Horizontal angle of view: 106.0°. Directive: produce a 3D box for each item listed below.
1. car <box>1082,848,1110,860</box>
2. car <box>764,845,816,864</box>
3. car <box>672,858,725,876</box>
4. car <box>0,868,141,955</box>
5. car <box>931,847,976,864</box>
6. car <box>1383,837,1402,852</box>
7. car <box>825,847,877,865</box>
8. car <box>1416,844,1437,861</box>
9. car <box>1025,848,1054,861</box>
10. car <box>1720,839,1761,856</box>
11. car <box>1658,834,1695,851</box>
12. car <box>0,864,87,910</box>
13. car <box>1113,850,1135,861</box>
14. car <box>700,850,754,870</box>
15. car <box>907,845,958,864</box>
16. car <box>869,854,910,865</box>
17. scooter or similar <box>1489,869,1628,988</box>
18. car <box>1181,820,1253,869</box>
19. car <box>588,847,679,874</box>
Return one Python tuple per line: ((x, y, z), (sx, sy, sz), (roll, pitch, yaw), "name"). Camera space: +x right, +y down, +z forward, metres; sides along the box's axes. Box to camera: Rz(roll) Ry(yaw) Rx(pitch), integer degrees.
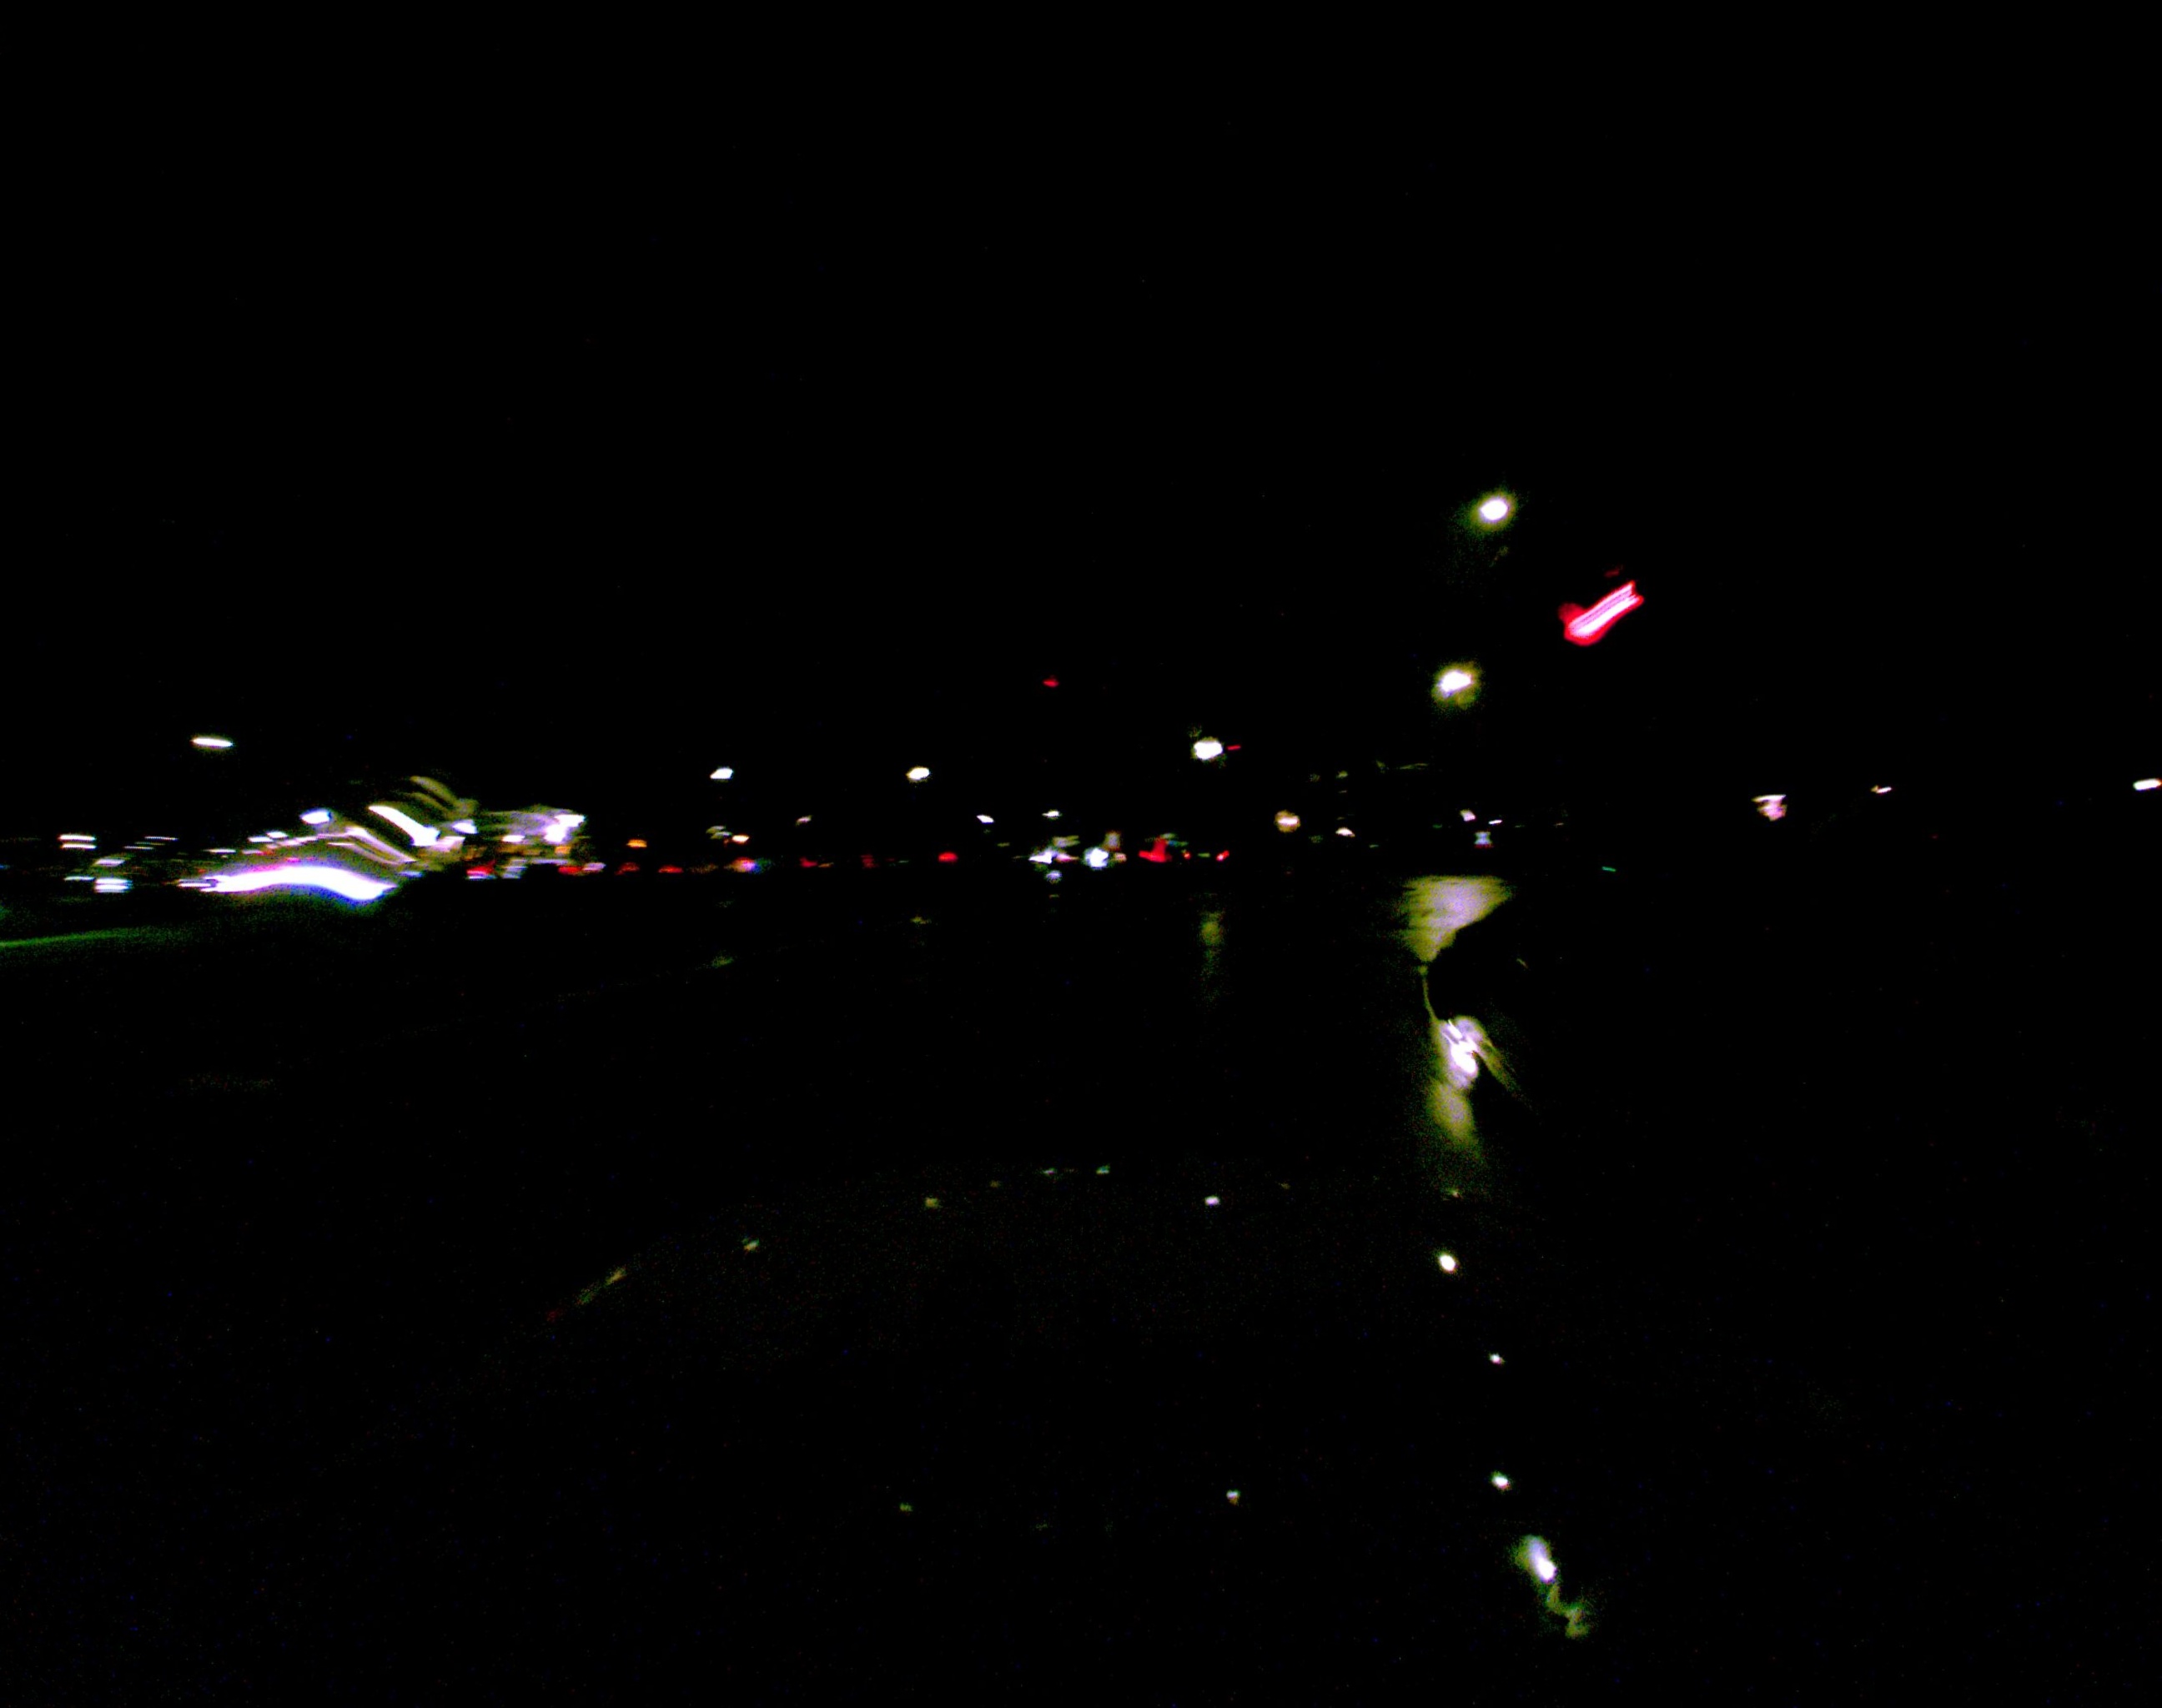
((2.223, -0.023, 117.710), (1.974, 1.736, 4.649), (0, 0, 30), "car")
((-25.018, 0.009, 70.205), (3.953, 1.578, 1.731), (0, 0, -11), "car")
((-33.921, 1.133, 72.307), (3.997, 1.486, 1.759), (0, 0, -18), "car")
((-24.173, 1.237, 18.187), (2.065, 1.732, 5.093), (0, 0, -22), "car")
((-11.456, 0.136, 73.315), (3.589, 1.578, 1.745), (0, 0, 17), "car")
((31.833, -0.962, 83.394), (1.702, 1.496, 3.931), (0, 0, 19), "car")
((-19.940, 0.174, 70.735), (3.944, 1.578, 1.874), (0, 0, -4), "car")
((34.843, -0.127, 82.215), (1.702, 1.497, 3.930), (-1, -3, 19), "car")
((-5.308, 0.026, 104.141), (1.840, 1.640, 3.915), (0, 0, 29), "car")
((59.686, -0.574, 73.783), (1.702, 1.536, 3.931), (0, 0, 19), "car")
((55.191, -1.059, 75.551), (1.702, 1.536, 3.931), (0, 0, 19), "car")
((-49.330, 1.501, 37.276), (1.977, 2.013, 4.444), (0, 0, 19), "car")
((6.842, 0.197, 129.167), (1.854, 1.758, 4.421), (0, 0, 28), "car")
((-30.160, 0.515, 69.478), (3.995, 1.616, 1.827), (0, 0, -16), "car")
((-12.803, 0.077, 70.317), (3.956, 1.616, 1.845), (0, 0, 17), "car")
((-18.262, 0.523, 77.757), (3.616, 1.031, 1.471), (0, 0, -10), "car")
((4.613, 0.720, 7.914), (1.092, 1.097, 0.319), (-2, -1, 19), "scooter or similar")
((6.000, -0.399, 35.576), (1.975, 2.013, 4.584), (0, 0, 24), "car")
((-36.375, 0.481, 66.237), (6.338, 2.089, 2.489), (-1, 0, -34), "car")
